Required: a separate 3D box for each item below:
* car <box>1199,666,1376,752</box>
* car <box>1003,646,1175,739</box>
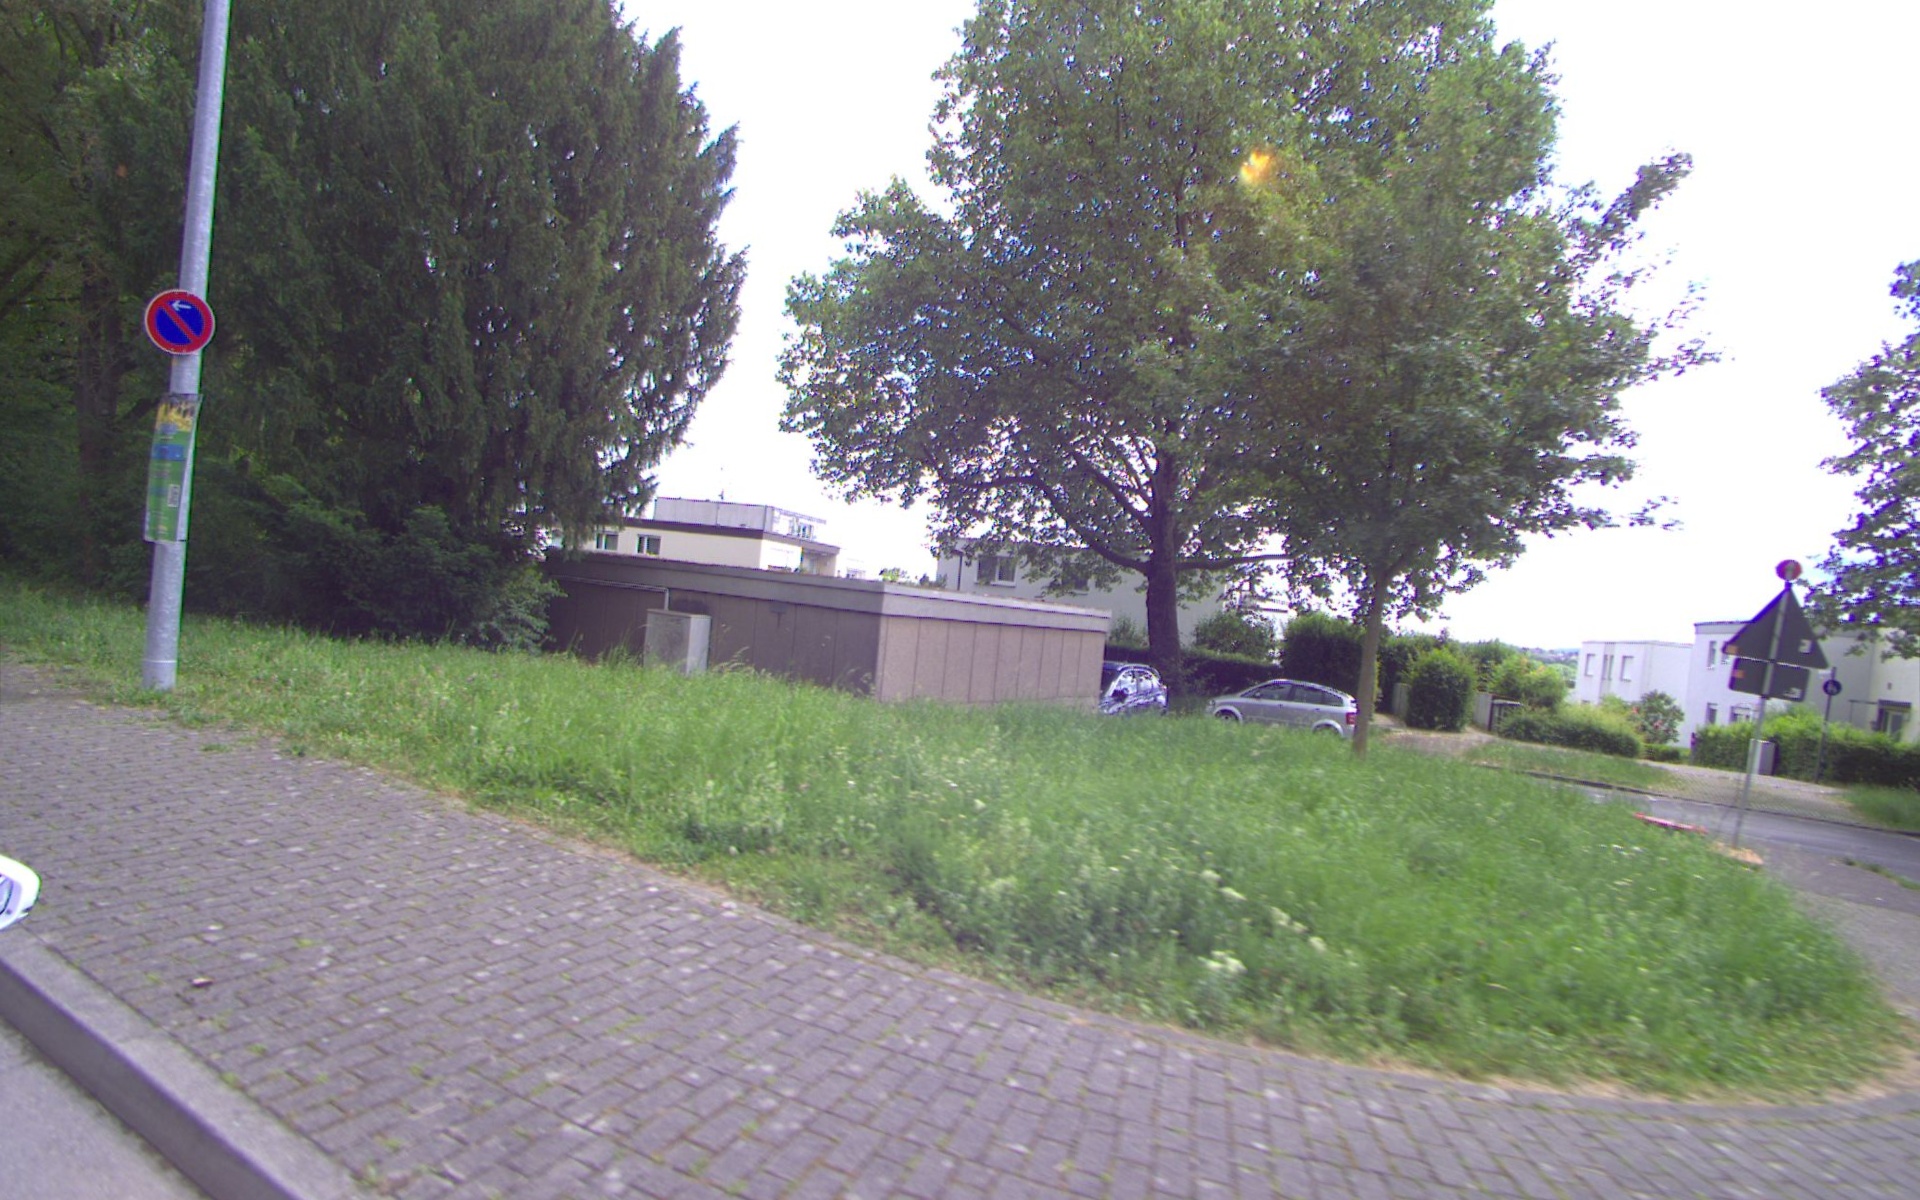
[{"bbox_3d":[8.031,2.615,24.741,3.686,1.487,1.847,7,1,32],"label":"car"},{"bbox_3d":[2.469,1.703,18.469,1.780,1.330,3.567,7,-2,30],"label":"car"}]
